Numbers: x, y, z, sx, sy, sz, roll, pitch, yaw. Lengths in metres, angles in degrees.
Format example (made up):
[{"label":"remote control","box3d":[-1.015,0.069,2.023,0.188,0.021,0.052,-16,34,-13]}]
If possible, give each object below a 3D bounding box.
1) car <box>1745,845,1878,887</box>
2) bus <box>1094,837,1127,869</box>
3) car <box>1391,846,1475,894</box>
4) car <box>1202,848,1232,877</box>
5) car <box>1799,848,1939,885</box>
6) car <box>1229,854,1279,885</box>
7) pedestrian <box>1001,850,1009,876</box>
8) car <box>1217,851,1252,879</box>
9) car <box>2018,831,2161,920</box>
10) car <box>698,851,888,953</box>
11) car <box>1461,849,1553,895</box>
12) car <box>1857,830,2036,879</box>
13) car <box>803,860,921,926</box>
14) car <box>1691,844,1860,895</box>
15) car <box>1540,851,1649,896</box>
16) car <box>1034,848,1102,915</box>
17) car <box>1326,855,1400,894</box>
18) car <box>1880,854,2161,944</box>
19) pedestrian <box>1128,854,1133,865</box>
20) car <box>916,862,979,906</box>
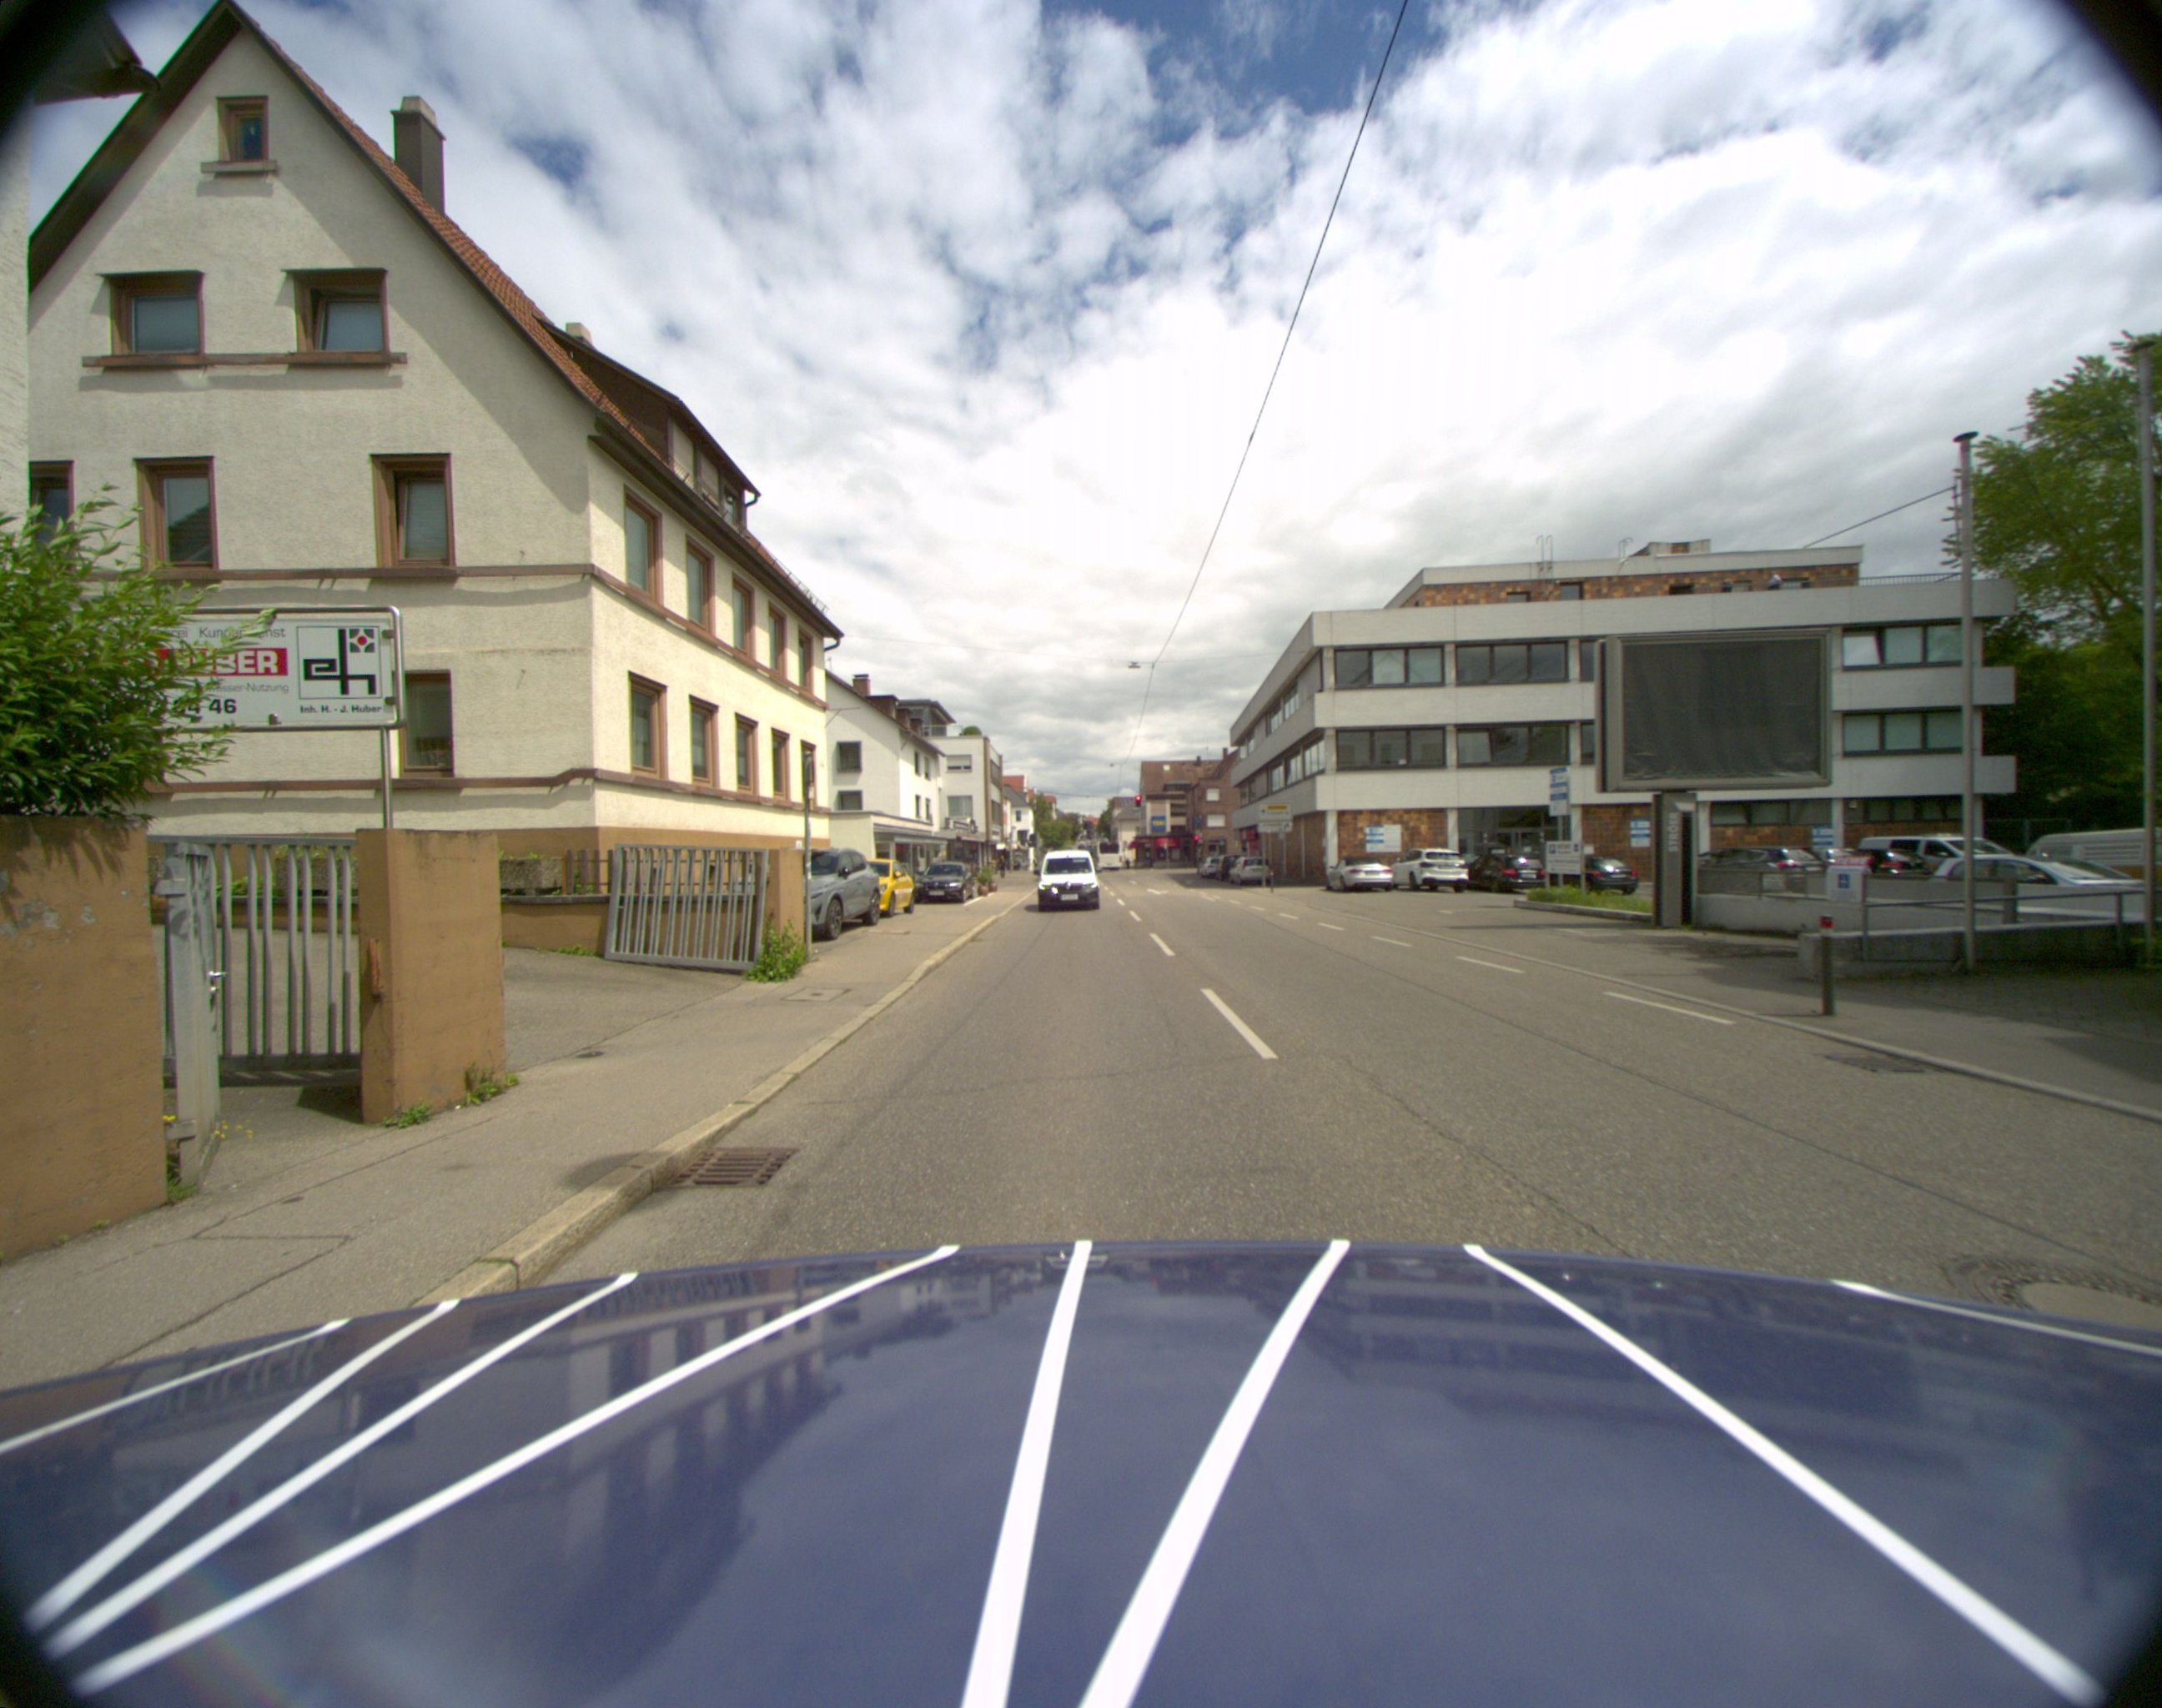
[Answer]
[{"label":"car","box3d":[27.885,0.420,29.185,1.668,1.432,3.857,-2,1,7]},{"label":"bus","box3d":[3.177,-0.197,84.489,3.133,3.239,9.749,-2,1,-1]},{"label":"car","box3d":[13.596,0.558,29.613,1.896,1.687,3.802,1,1,7]},{"label":"car","box3d":[9.116,0.523,51.108,1.701,1.766,4.463,-2,1,7]},{"label":"car","box3d":[30.089,0.425,29.177,1.660,1.252,3.857,-2,1,7]},{"label":"car","box3d":[8.865,0.758,39.295,1.839,1.418,4.219,-2,1,4]},{"label":"pedestrian","box3d":[-5.828,0.689,58.222,0.476,2.010,0.918,-1,1,1]},{"label":"car","box3d":[9.243,0.640,45.997,1.808,1.521,4.002,-2,1,7]},{"label":"car","box3d":[23.449,0.426,16.310,1.858,1.804,3.988,-2,1,3]},{"label":"car","box3d":[-5.142,0.762,14.235,1.999,1.609,4.100,-1,0,-1]},{"label":"car","box3d":[16.542,0.634,29.731,1.648,1.599,3.843,-2,1,4]},{"label":"car","box3d":[32.641,-0.020,28.886,1.976,1.656,4.428,-2,1,6]},{"label":"car","box3d":[-5.331,0.889,19.046,1.926,1.404,3.999,-1,0,-3]},{"label":"car","box3d":[22.437,0.444,24.787,1.998,1.465,4.001,-2,1,4]},{"label":"car","box3d":[19.856,0.706,29.573,1.796,1.557,3.666,-2,1,1]},{"label":"car","box3d":[-0.311,0.773,24.081,1.870,1.805,5.006,-2,1,2]},{"label":"car","box3d":[11.093,0.761,30.187,1.824,1.321,4.237,-2,1,7]},{"label":"car","box3d":[20.709,0.879,16.896,1.822,1.656,3.950,-2,1,3]},{"label":"pedestrian","box3d":[6.493,0.759,100.202,0.669,1.424,0.778,-1,1,5]},{"label":"car","box3d":[-4.734,1.010,27.431,1.656,1.413,3.999,-1,0,-2]}]
